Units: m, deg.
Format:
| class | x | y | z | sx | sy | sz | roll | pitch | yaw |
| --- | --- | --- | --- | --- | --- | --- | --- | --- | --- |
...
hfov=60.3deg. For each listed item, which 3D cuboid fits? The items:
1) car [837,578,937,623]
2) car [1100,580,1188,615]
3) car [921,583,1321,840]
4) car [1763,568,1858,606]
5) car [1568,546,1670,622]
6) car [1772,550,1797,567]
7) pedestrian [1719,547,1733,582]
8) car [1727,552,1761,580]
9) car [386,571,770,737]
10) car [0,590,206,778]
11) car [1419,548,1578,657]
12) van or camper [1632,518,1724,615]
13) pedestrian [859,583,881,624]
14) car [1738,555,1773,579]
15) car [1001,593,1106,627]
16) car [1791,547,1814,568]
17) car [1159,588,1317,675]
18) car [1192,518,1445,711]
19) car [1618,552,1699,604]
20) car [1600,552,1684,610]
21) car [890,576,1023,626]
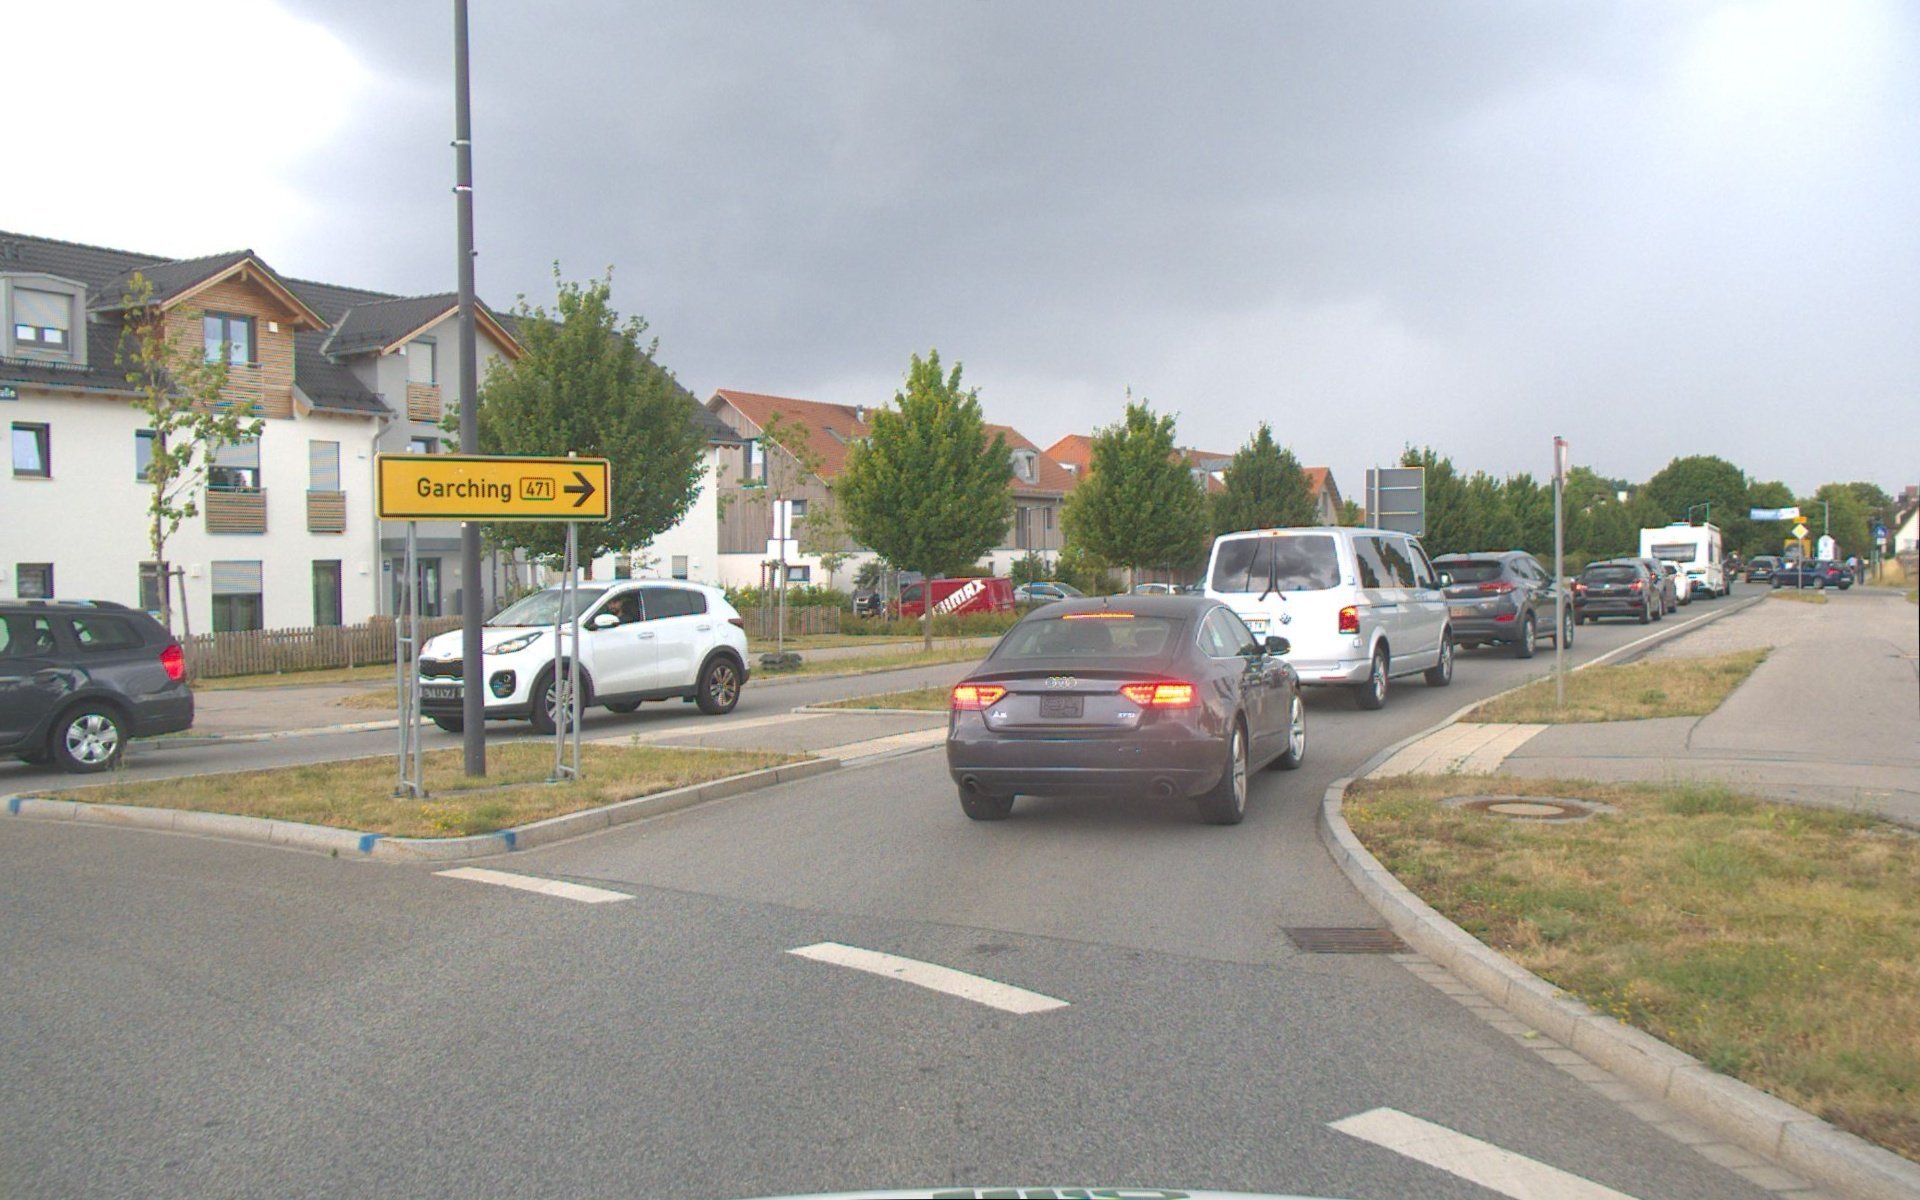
| class | x | y | z | sx | sy | sz | roll | pitch | yaw |
| --- | --- | --- | --- | --- | --- | --- | --- | --- | --- |
| car | -3.042 | -0.017 | 69.483 | 1.959 | 1.803 | 4.452 | 0 | 1 | 34 |
| car | 8.360 | -0.110 | 75.181 | 3.656 | 1.507 | 1.685 | 0 | 1 | 26 |
| car | 1.305 | 0.612 | 11.377 | 1.747 | 1.416 | 4.134 | -1 | 0 | 20 |
| car | 41.578 | -0.637 | 80.934 | 1.597 | 1.825 | 3.959 | -1 | 1 | -30 |
| car | 15.471 | -0.384 | 38.744 | 1.743 | 1.646 | 3.994 | -1 | 0 | 29 |
| car | 71.495 | -3.603 | 143.337 | 1.810 | 1.461 | 3.995 | 1 | 1 | 28 |
| pedestrian | 45.682 | -2.134 | 98.674 | 0.569 | 2.048 | 0.679 | 3 | 2 | 35 |
| car | 55.551 | -2.393 | 117.199 | 1.955 | 1.932 | 3.994 | 1 | 1 | 28 |
| car | -4.310 | 0.545 | 19.365 | 1.678 | 1.654 | 4.439 | -2 | 1 | 33 |
| car | -9.079 | 0.740 | 14.410 | 1.743 | 1.591 | 4.250 | -2 | -1 | 44 |
| car | 8.859 | 0.015 | 27.015 | 1.743 | 1.646 | 3.993 | 0 | 1 | 29 |
| van or camper | 26.643 | -1.217 | 61.251 | 2.575 | 3.381 | 6.811 | 0 | 0 | 28 |
| pedestrian | -3.505 | 0.135 | 64.404 | 0.645 | 1.586 | 0.582 | 0 | 1 | 30 |
| car | 48.768 | -2.019 | 101.364 | 1.810 | 1.461 | 3.995 | 1 | 1 | 28 |
| car | 3.762 | 0.397 | 66.846 | 3.838 | 1.338 | 1.840 | 0 | 0 | 27 |
| car | 95.191 | -4.820 | 186.898 | 1.958 | 2.250 | 3.989 | 0 | 1 | 33 |
| car | 6.491 | 0.714 | 38.257 | 1.958 | 1.733 | 4.624 | 5 | 2 | 31 |
| car | 4.247 | 0.126 | 19.110 | 1.832 | 1.968 | 3.994 | 0 | 0 | 28 |
| car | 22.626 | -0.711 | 53.511 | 1.956 | 1.624 | 3.992 | 0 | 1 | 30 |
| car | 18.435 | -0.511 | 44.613 | 1.742 | 1.459 | 3.798 | -1 | 0 | 27 |
| car | -0.143 | 0.015 | 59.250 | 4.449 | 1.709 | 1.995 | 0 | 0 | 33 |
